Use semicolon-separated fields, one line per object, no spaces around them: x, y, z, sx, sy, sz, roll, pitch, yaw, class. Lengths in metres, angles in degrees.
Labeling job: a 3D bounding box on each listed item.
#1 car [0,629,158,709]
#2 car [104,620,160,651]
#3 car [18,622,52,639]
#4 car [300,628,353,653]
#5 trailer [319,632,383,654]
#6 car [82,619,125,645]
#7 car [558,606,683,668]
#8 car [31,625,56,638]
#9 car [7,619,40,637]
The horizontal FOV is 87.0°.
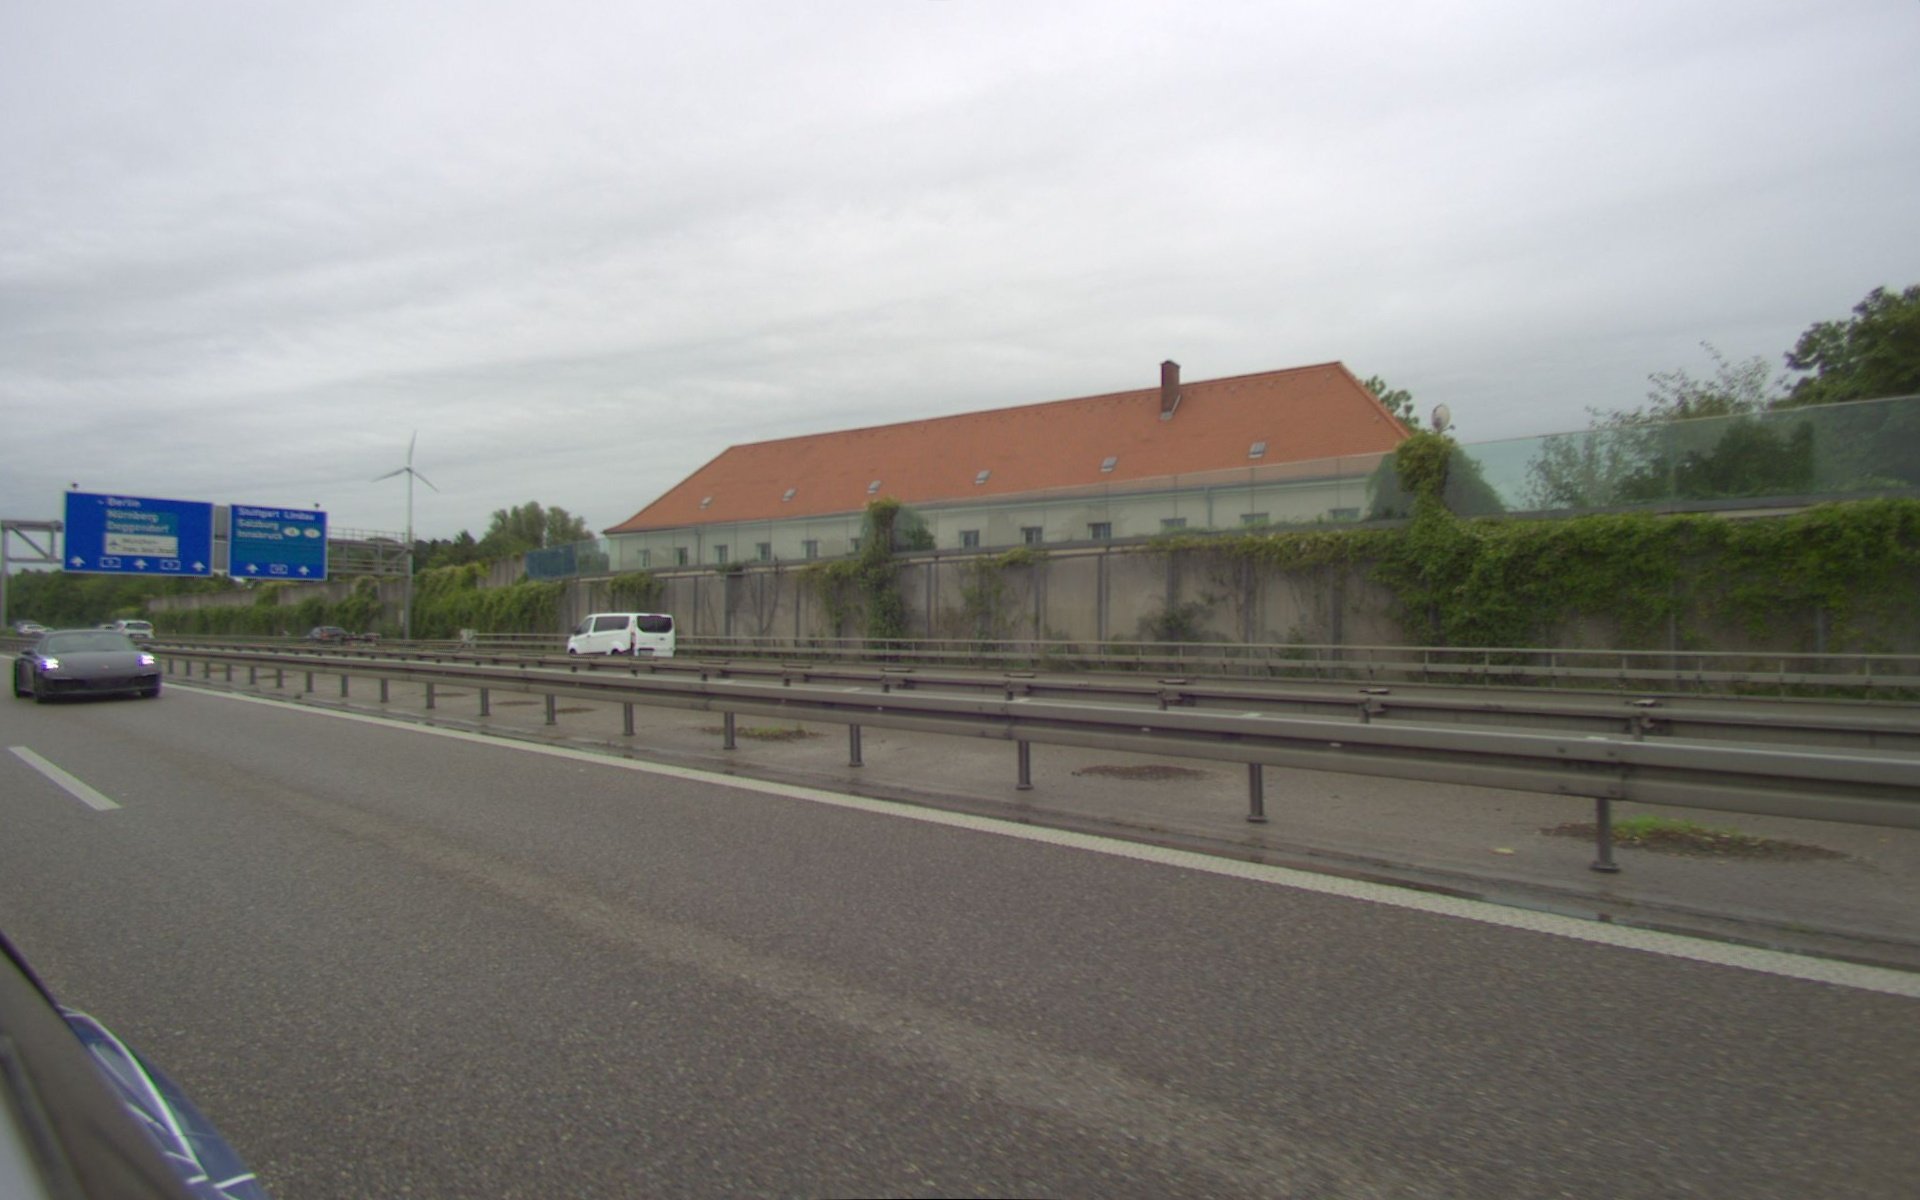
-17.156;1.245;19.595;4.921;1.281;1.634;-1;0;41;car
-49.782;2.099;60.836;4.533;1.764;1.769;-1;0;40;car
-81.958;2.683;89.655;4.762;1.417;1.585;-1;-5;41;car
-43.034;2.717;68.689;4.521;1.564;1.935;-1;0;43;car
-39.402;2.748;65.432;5.246;1.277;2.107;-1;0;42;trailer
-70.309;2.576;83.039;4.728;2.029;1.913;-1;0;40;car
-12.089;1.257;35.855;4.954;2.029;1.973;-1;0;41;car
-138.039;4.762;152.356;5.752;1.888;2.186;-1;0;42;car
-109.358;3.195;118.124;6.268;1.987;2.186;-1;0;42;car
